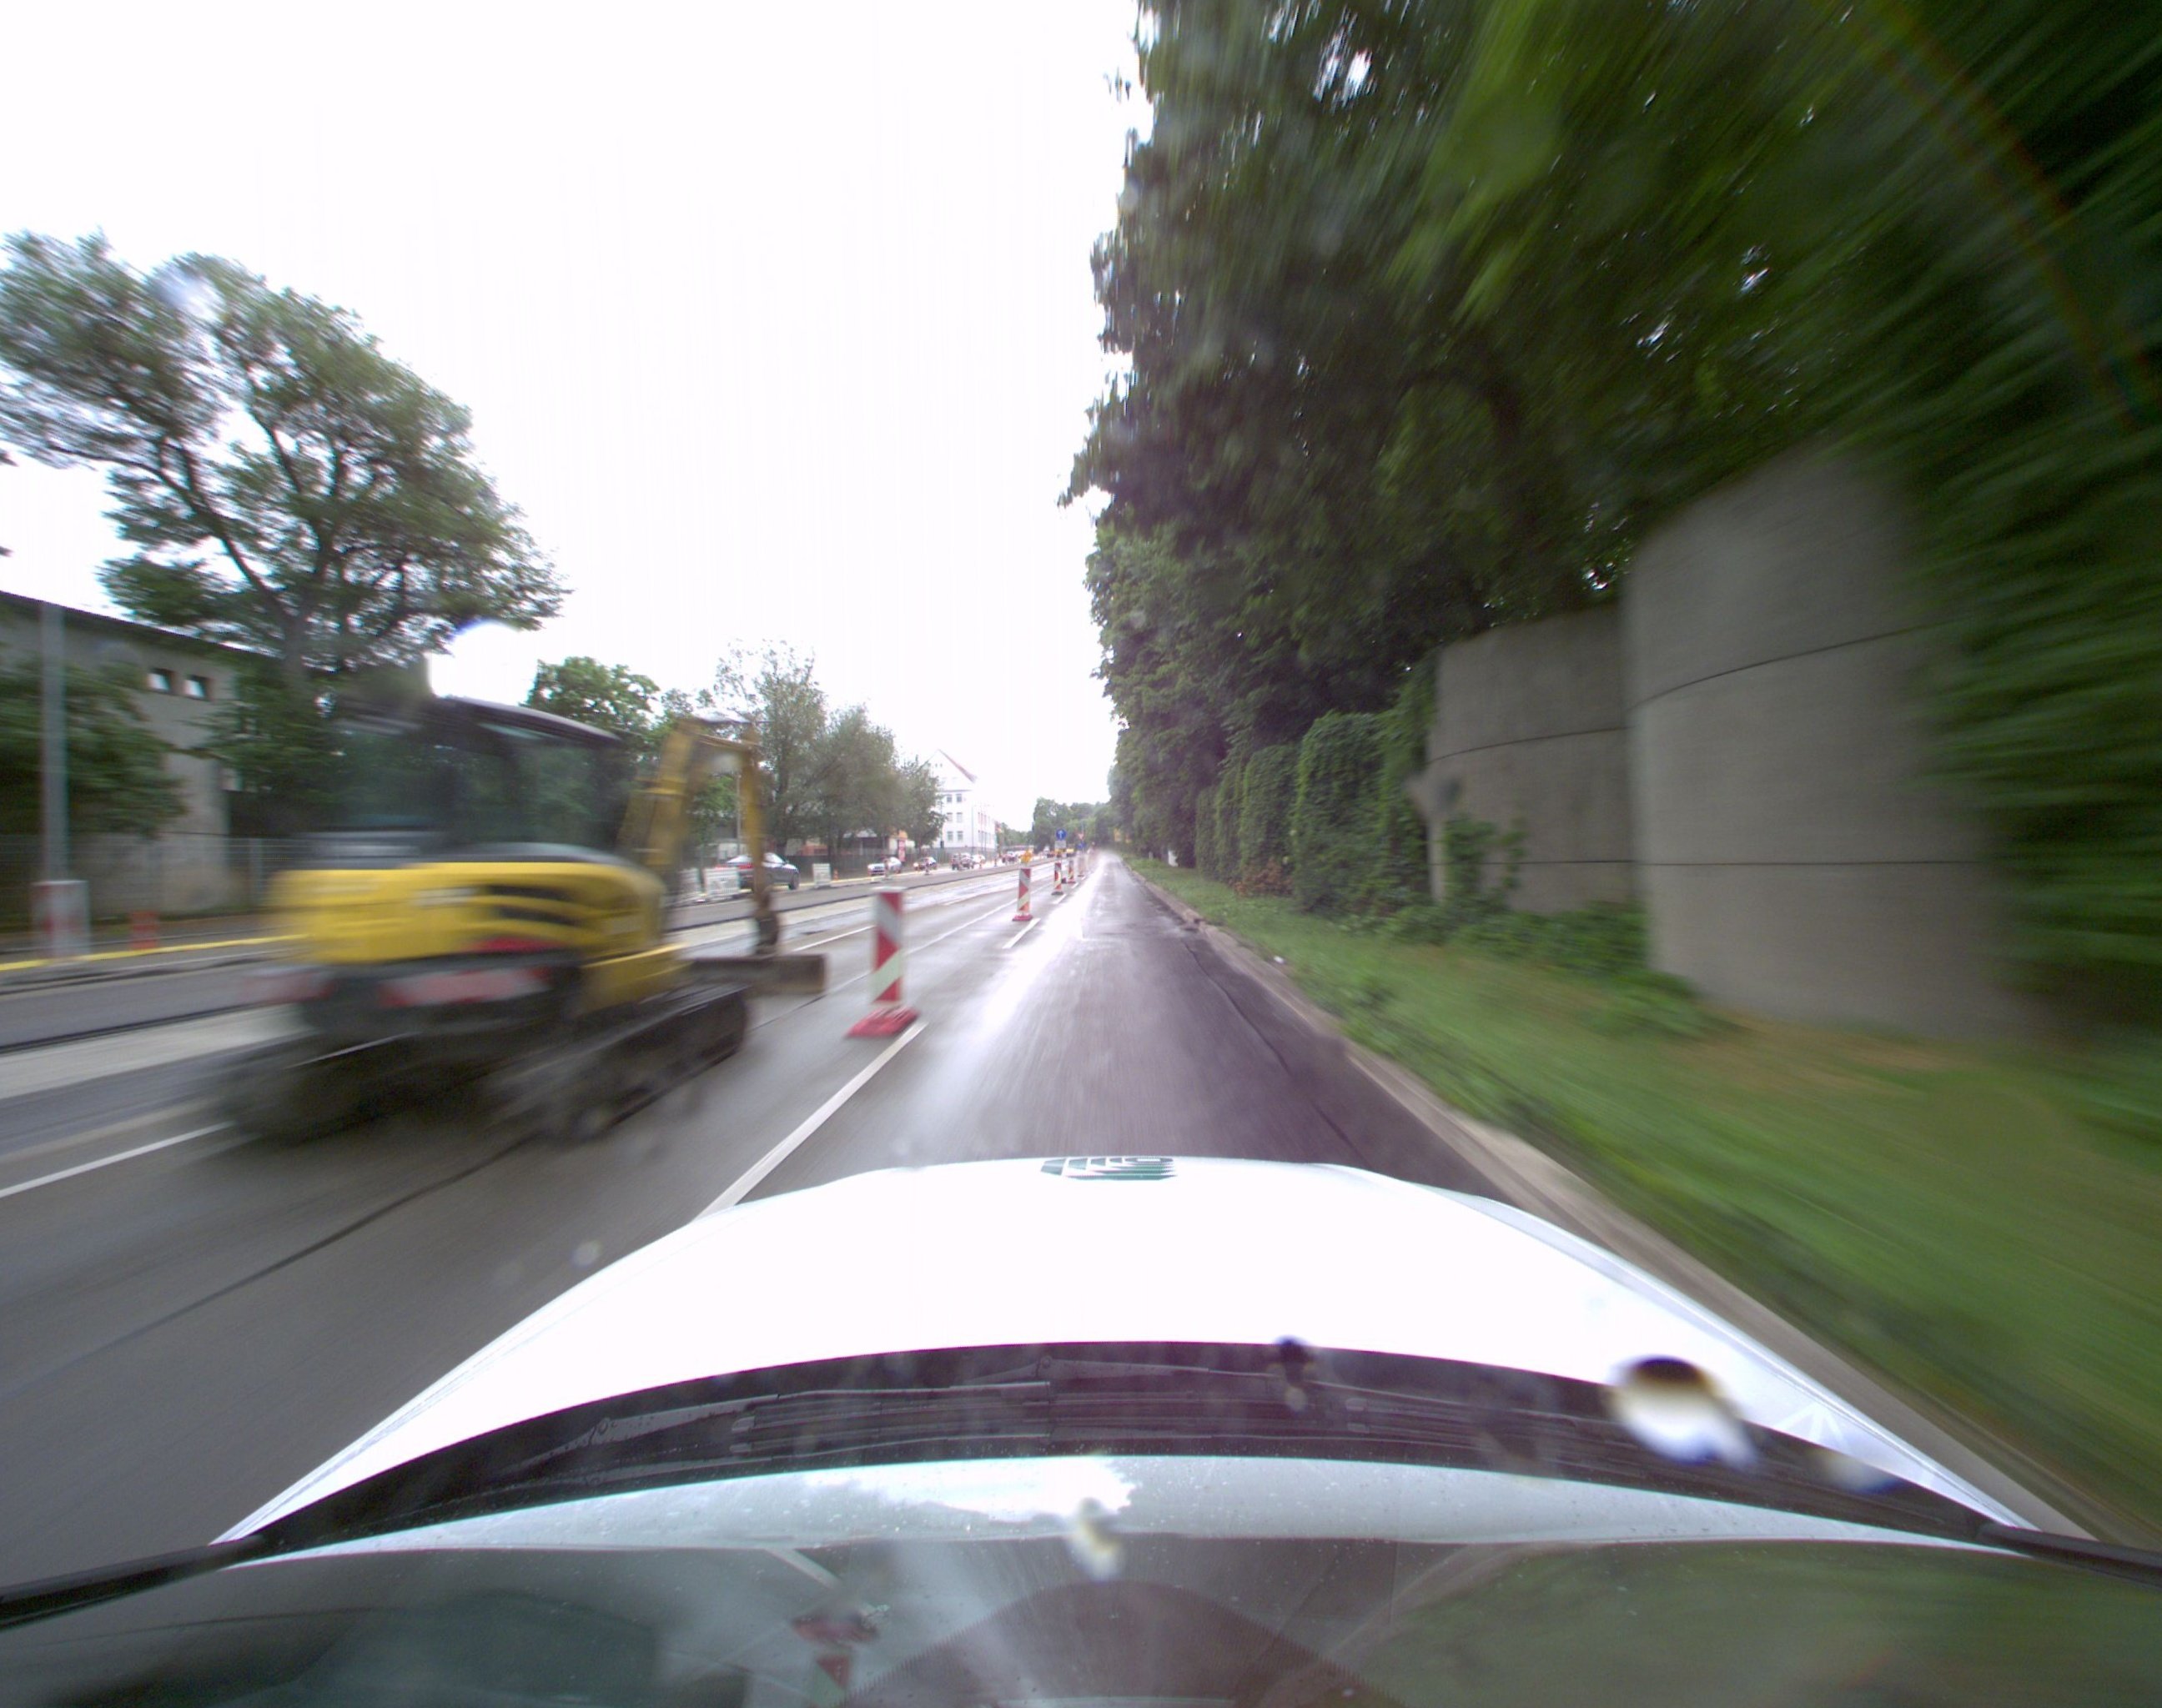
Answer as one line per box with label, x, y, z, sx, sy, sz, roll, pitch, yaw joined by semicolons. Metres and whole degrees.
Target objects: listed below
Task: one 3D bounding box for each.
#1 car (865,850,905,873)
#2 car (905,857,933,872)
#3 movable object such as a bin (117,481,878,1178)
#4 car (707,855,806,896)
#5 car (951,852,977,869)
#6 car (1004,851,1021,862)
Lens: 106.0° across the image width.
car;-15.874;0.614;66.149;1.986;1.766;4.281;-1;0;2
car;-18.253;1.204;91.860;1.986;1.586;4.621;-1;0;2
movable object such as a bin;-3.596;-0.107;6.949;1.986;3.367;5.985;-1;0;2
car;-13.609;0.848;34.532;2.069;1.613;5.057;-1;0;1
car;-11.859;0.619;82.674;1.847;1.648;4.002;-1;0;2
car;-10.154;0.355;120.885;1.986;1.519;4.002;-1;0;2
